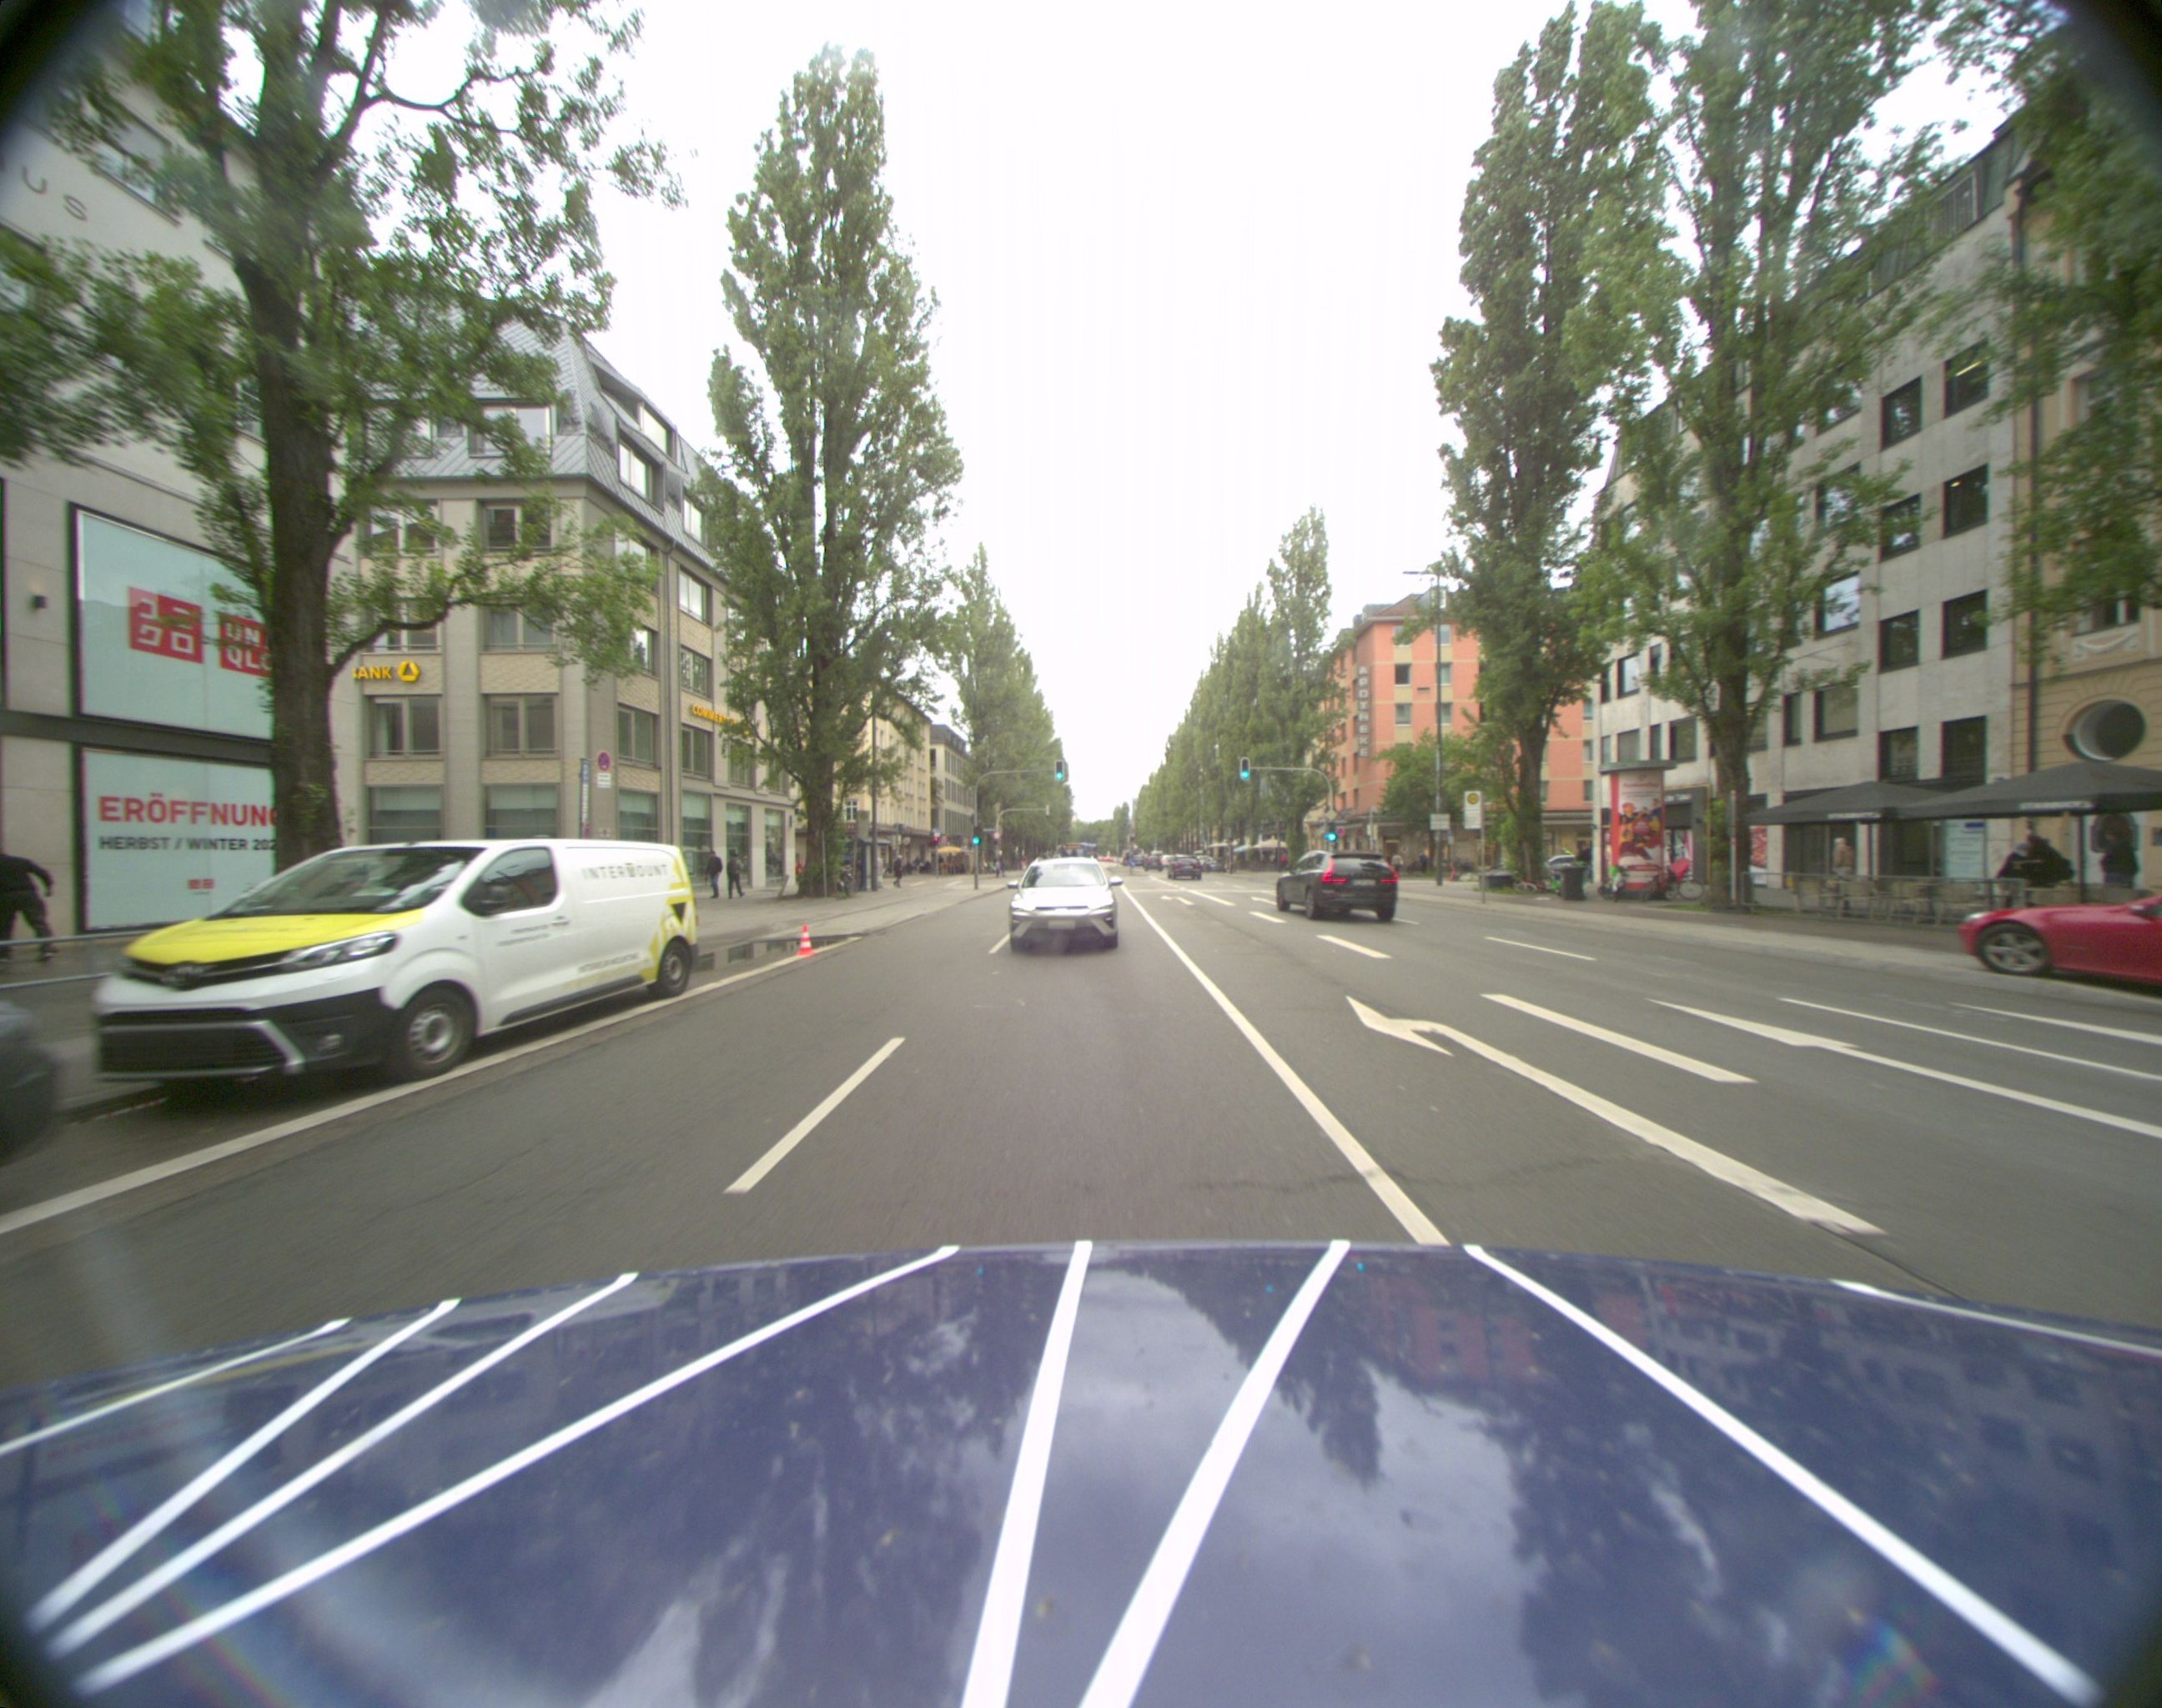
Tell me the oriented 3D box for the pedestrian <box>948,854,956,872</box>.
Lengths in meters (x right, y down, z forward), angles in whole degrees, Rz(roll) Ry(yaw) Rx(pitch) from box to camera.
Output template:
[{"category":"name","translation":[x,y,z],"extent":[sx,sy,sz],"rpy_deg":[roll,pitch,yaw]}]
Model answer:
[{"category":"pedestrian","translation":[-12.165,0.854,71.518],"extent":[0.541,1.664,0.537],"rpy_deg":[-1,1,8]}]

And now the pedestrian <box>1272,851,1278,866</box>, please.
[{"category":"pedestrian","translation":[21.509,0.477,84.256],"extent":[0.556,1.707,0.692],"rpy_deg":[-1,1,0]}]

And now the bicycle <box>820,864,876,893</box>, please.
[{"category":"bicycle","translation":[-10.319,1.089,33.628],"extent":[2.321,1.245,0.477],"rpy_deg":[-1,1,1]}]

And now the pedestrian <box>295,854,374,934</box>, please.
[{"category":"pedestrian","translation":[-16.531,0.856,16.848],"extent":[0.752,1.708,0.963],"rpy_deg":[-1,0,2]}]

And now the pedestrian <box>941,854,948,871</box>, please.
[{"category":"pedestrian","translation":[-13.146,0.836,73.131],"extent":[0.541,1.664,0.537],"rpy_deg":[-1,1,8]}]

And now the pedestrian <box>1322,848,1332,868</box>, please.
[{"category":"pedestrian","translation":[21.289,0.335,65.801],"extent":[0.631,1.679,0.519],"rpy_deg":[-2,1,2]}]

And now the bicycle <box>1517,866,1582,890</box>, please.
[{"category":"bicycle","translation":[16.866,0.859,27.361],"extent":[1.955,0.510,0.826],"rpy_deg":[-2,22,-17]}]

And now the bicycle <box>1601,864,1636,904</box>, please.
[{"category":"bicycle","translation":[15.970,0.872,22.610],"extent":[0.507,1.082,1.812],"rpy_deg":[-2,1,25]}]

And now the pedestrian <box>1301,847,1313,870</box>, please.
[{"category":"pedestrian","translation":[17.510,0.373,58.795],"extent":[0.726,1.761,0.778],"rpy_deg":[-1,1,2]}]

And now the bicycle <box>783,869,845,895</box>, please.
[{"category":"bicycle","translation":[-10.688,1.115,30.422],"extent":[2.153,1.011,0.874],"rpy_deg":[-1,0,1]}]

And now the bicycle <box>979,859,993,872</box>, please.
[{"category":"bicycle","translation":[-8.663,1.037,69.341],"extent":[0.405,1.064,1.813],"rpy_deg":[-6,0,17]}]

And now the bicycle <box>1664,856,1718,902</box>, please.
[{"category":"bicycle","translation":[18.040,0.710,22.461],"extent":[1.957,1.293,0.584],"rpy_deg":[-1,1,-30]}]

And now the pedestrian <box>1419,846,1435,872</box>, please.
[{"category":"pedestrian","translation":[23.615,0.362,51.908],"extent":[0.780,1.756,0.692],"rpy_deg":[-1,1,1]}]

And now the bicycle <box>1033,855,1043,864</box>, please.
[{"category":"bicycle","translation":[-7.401,0.981,131.580],"extent":[0.829,1.403,2.594],"rpy_deg":[-2,0,-25]}]

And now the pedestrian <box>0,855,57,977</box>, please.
[{"category":"pedestrian","translation":[-15.939,0.904,11.164],"extent":[0.869,1.754,0.682],"rpy_deg":[-1,1,-37]}]

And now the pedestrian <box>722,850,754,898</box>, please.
[{"category":"pedestrian","translation":[-13.368,0.768,29.635],"extent":[0.820,1.807,0.890],"rpy_deg":[-1,1,0]}]

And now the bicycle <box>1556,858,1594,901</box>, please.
[{"category":"bicycle","translation":[16.095,0.821,24.716],"extent":[1.958,1.282,0.507],"rpy_deg":[-3,1,-41]}]

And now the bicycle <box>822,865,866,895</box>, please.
[{"category":"bicycle","translation":[-10.078,1.101,32.327],"extent":[1.728,1.232,0.449],"rpy_deg":[-1,1,2]}]

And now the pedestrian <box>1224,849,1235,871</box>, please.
[{"category":"pedestrian","translation":[12.557,0.532,64.218],"extent":[0.736,1.785,0.994],"rpy_deg":[-2,1,19]}]

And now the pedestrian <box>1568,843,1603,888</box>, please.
[{"category":"pedestrian","translation":[20.005,0.428,30.146],"extent":[0.729,1.730,0.942],"rpy_deg":[-2,1,1]}]

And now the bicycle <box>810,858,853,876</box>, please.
[{"category":"bicycle","translation":[-19.335,1.008,58.876],"extent":[2.978,1.245,0.999],"rpy_deg":[-2,1,1]}]

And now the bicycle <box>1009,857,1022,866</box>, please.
[{"category":"bicycle","translation":[-8.400,0.974,97.307],"extent":[1.666,1.100,0.396],"rpy_deg":[-1,1,-10]}]

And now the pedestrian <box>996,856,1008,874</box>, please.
[{"category":"pedestrian","translation":[-6.556,0.911,63.125],"extent":[0.620,1.509,0.767],"rpy_deg":[-3,4,-45]}]

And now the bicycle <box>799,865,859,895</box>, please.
[{"category":"bicycle","translation":[-10.902,1.114,32.942],"extent":[2.349,1.245,0.633],"rpy_deg":[-1,1,1]}]

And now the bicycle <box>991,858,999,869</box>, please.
[{"category":"bicycle","translation":[-8.117,0.891,71.865],"extent":[0.510,1.042,1.770],"rpy_deg":[-1,0,-1]}]

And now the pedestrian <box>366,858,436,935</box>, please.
[{"category":"pedestrian","translation":[-15.297,0.937,17.114],"extent":[0.653,1.653,0.963],"rpy_deg":[-1,1,2]}]

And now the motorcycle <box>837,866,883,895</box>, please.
[{"category":"motorcycle","translation":[-9.151,1.095,31.430],"extent":[1.728,1.133,0.510],"rpy_deg":[-1,1,2]}]

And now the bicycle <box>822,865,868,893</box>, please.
[{"category":"bicycle","translation":[-10.922,1.144,35.145],"extent":[2.241,1.245,0.478],"rpy_deg":[-1,1,25]}]

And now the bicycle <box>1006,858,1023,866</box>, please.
[{"category":"bicycle","translation":[-8.115,1.002,92.944],"extent":[2.005,0.939,0.286],"rpy_deg":[-1,1,-7]}]

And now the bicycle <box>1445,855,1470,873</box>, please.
[{"category":"bicycle","translation":[24.589,0.633,49.663],"extent":[0.416,1.177,2.062],"rpy_deg":[-1,0,-5]}]

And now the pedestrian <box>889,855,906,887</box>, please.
[{"category":"pedestrian","translation":[-10.254,0.937,42.537],"extent":[0.710,1.748,0.752],"rpy_deg":[-1,1,2]}]

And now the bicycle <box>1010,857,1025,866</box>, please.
[{"category":"bicycle","translation":[-8.218,0.978,98.558],"extent":[1.871,1.129,0.339],"rpy_deg":[-1,1,-7]}]

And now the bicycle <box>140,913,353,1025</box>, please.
[{"category":"bicycle","translation":[-9.563,1.273,8.812],"extent":[0.365,1.032,1.731],"rpy_deg":[-1,0,9]}]

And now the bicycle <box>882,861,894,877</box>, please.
[{"category":"bicycle","translation":[-15.371,1.184,60.511],"extent":[0.435,1.164,1.811],"rpy_deg":[-2,1,0]}]

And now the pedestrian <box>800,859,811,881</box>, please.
[{"category":"pedestrian","translation":[-19.973,1.145,55.056],"extent":[0.584,1.548,0.445],"rpy_deg":[-2,1,2]}]

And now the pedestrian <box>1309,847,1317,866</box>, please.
[{"category":"pedestrian","translation":[20.045,0.204,65.752],"extent":[0.508,1.661,0.626],"rpy_deg":[-1,1,2]}]
